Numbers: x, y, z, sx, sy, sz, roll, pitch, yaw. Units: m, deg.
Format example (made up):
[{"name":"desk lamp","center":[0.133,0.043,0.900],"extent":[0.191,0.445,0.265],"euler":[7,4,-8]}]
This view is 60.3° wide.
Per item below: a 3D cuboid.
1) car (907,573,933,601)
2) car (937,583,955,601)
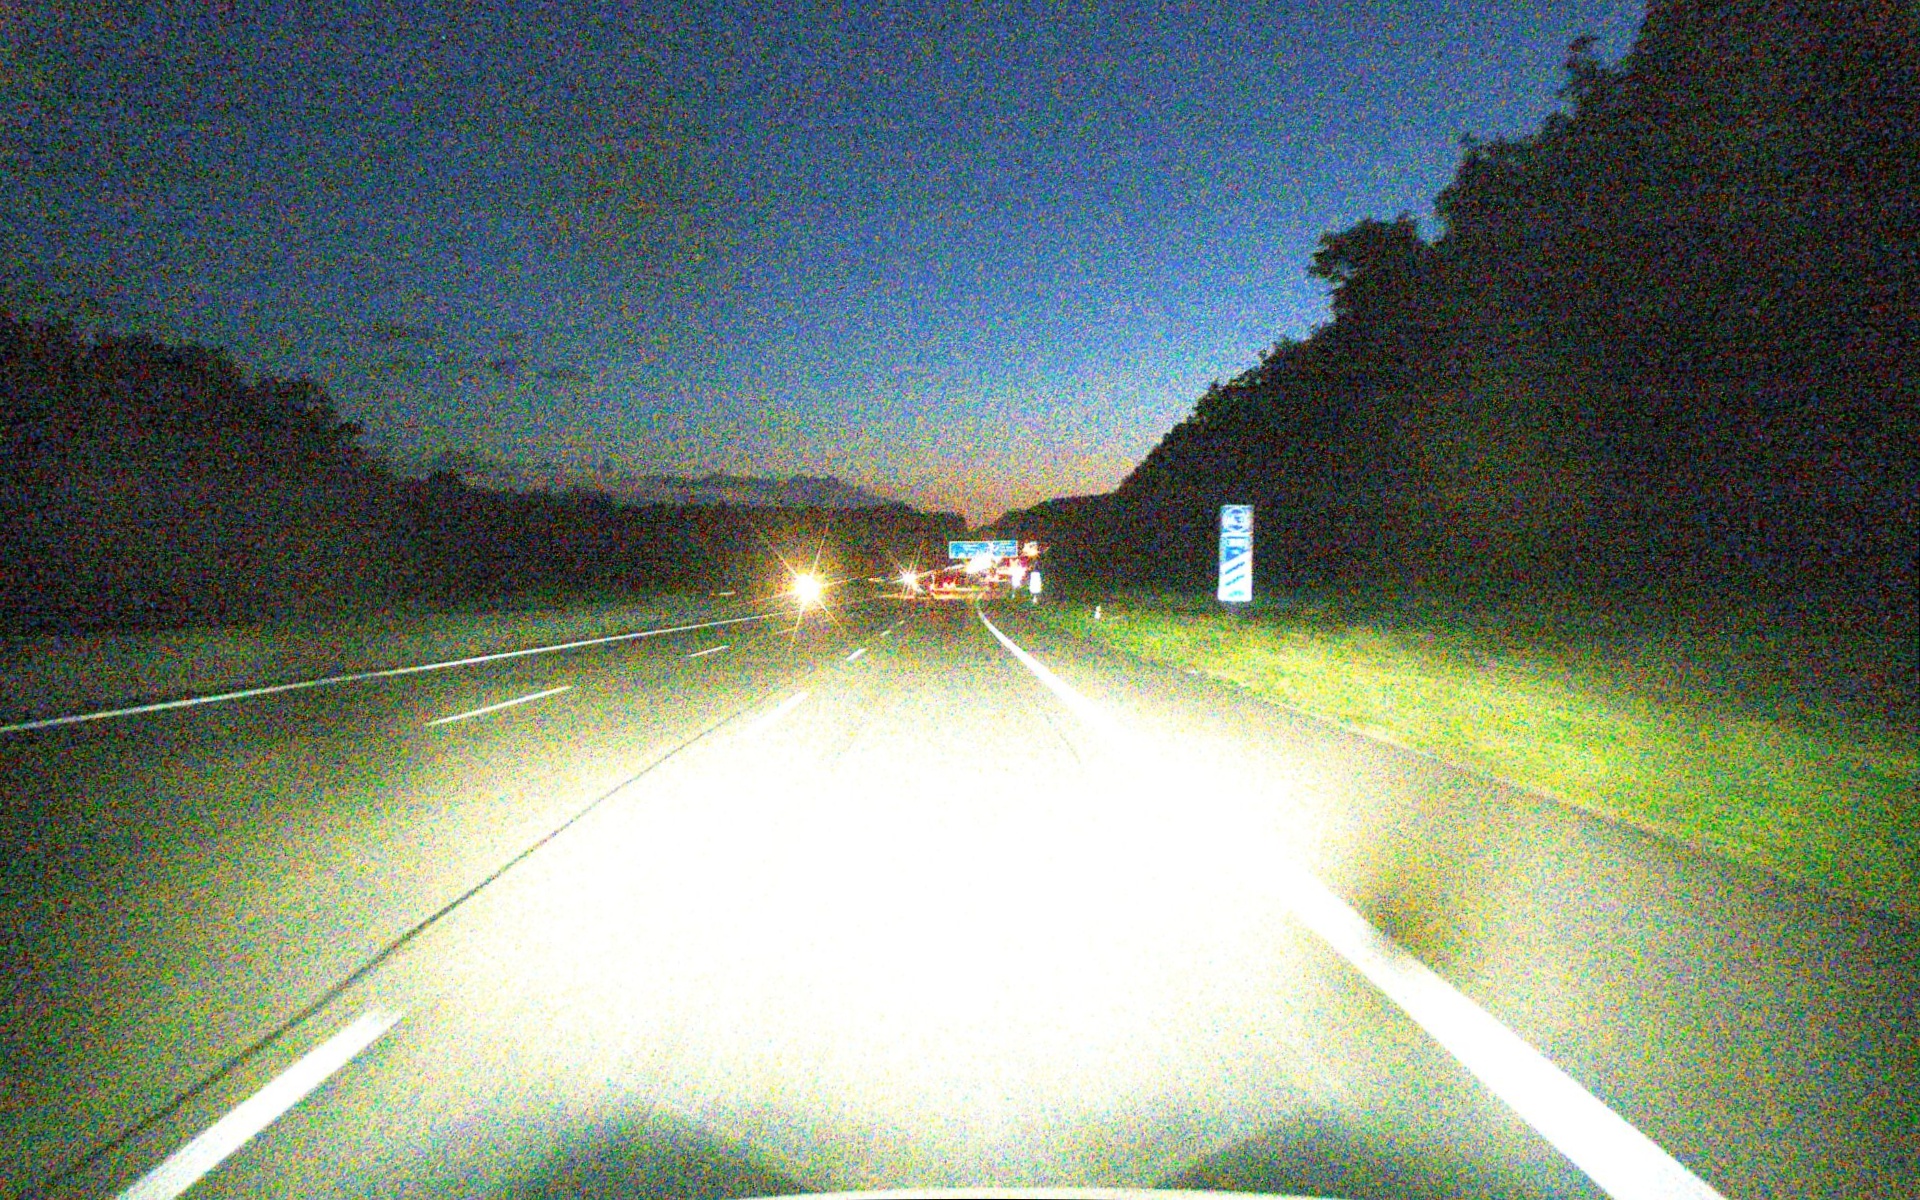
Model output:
[{"name":"car","center":[-4.115,-1.354,171.230],"extent":[2.730,2.781,6.298],"euler":[0,0,-1]},{"name":"car","center":[-2.215,-1.256,263.554],"extent":[2.729,2.781,6.299],"euler":[0,0,0]}]
